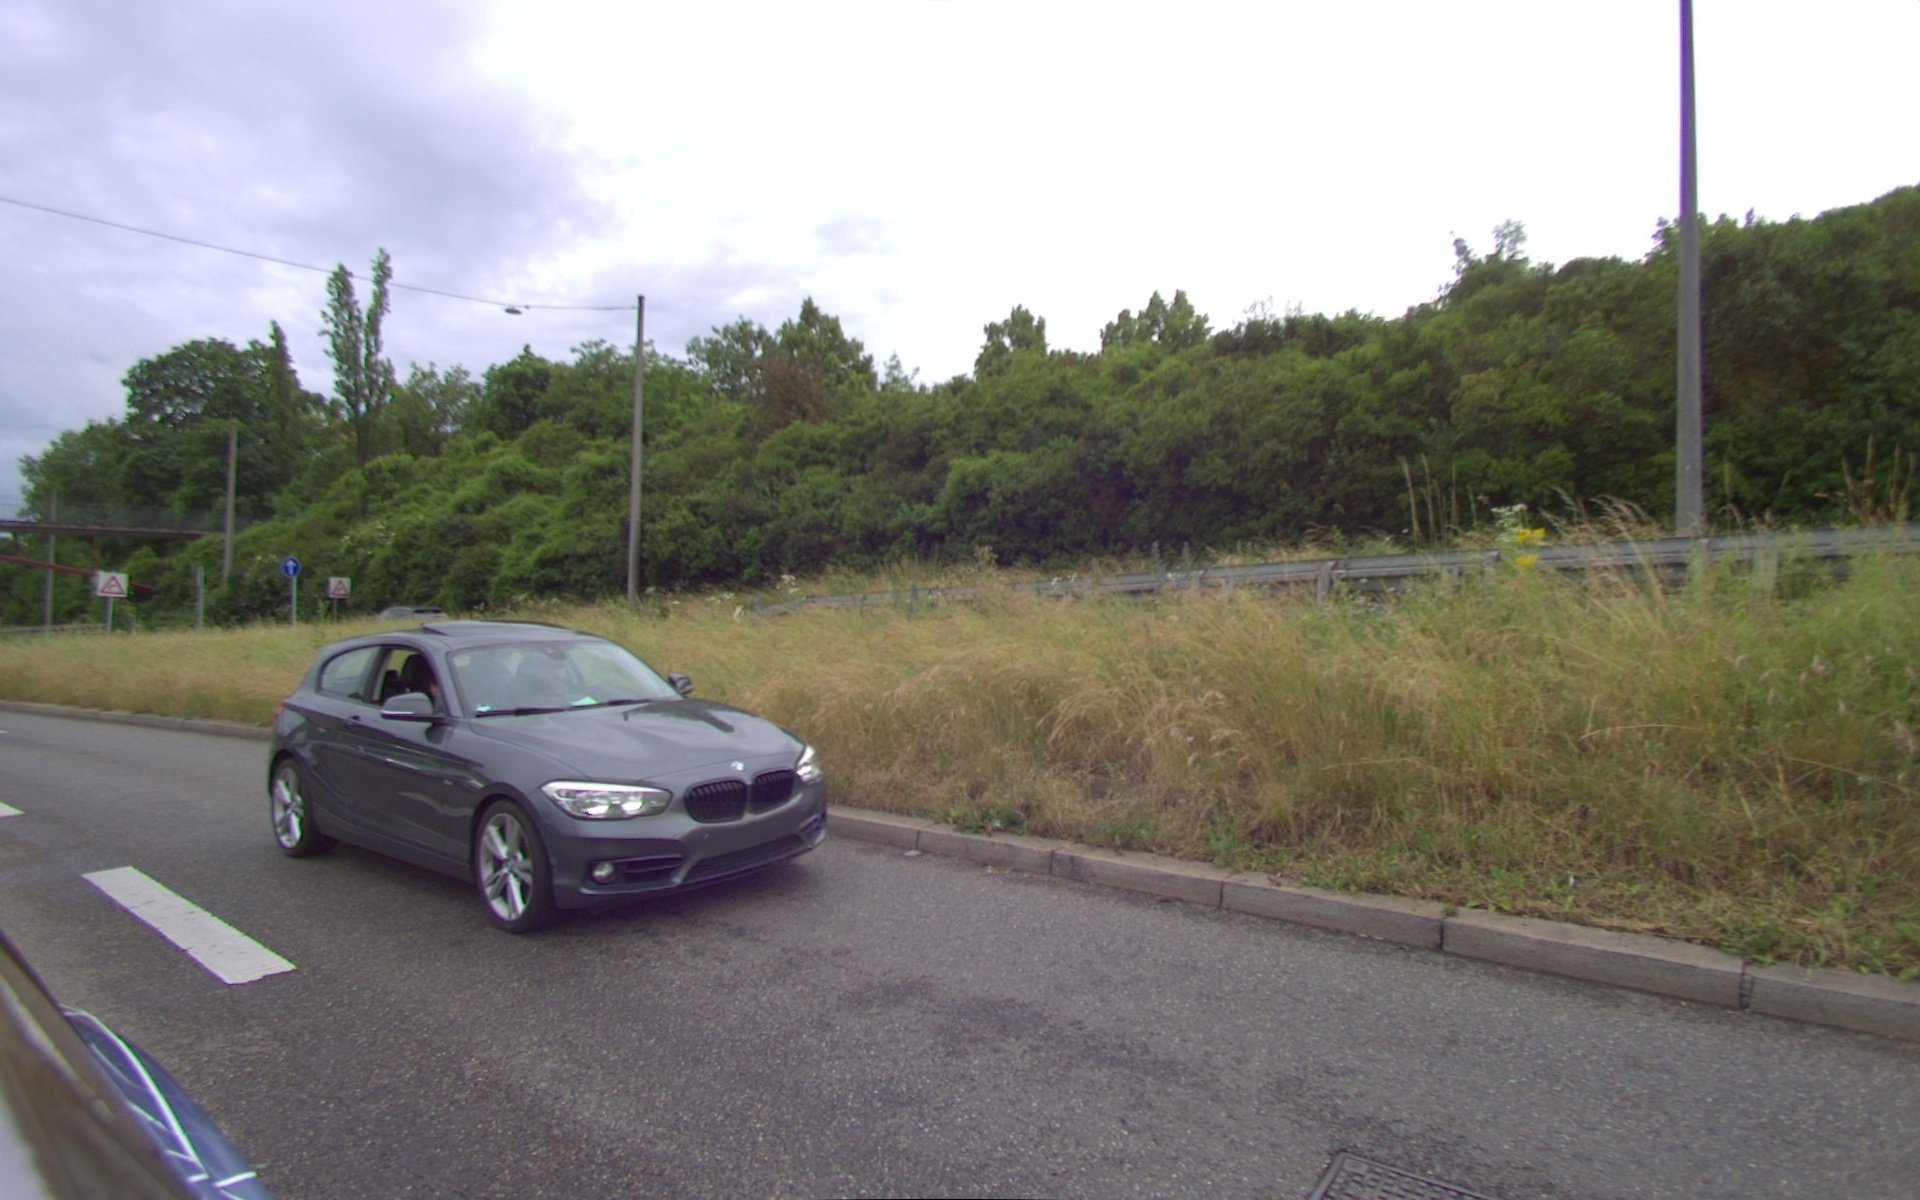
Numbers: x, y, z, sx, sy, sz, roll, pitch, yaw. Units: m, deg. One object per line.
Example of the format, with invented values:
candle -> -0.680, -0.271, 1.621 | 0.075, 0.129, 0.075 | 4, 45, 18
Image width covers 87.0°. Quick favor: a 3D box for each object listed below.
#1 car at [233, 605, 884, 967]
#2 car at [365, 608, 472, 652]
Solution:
car -> -2.566, 0.785, 6.043 | 4.106, 1.471, 1.687 | -1, 0, 36
car -> -19.563, 1.032, 36.512 | 4.283, 1.464, 1.973 | -1, 0, 41
